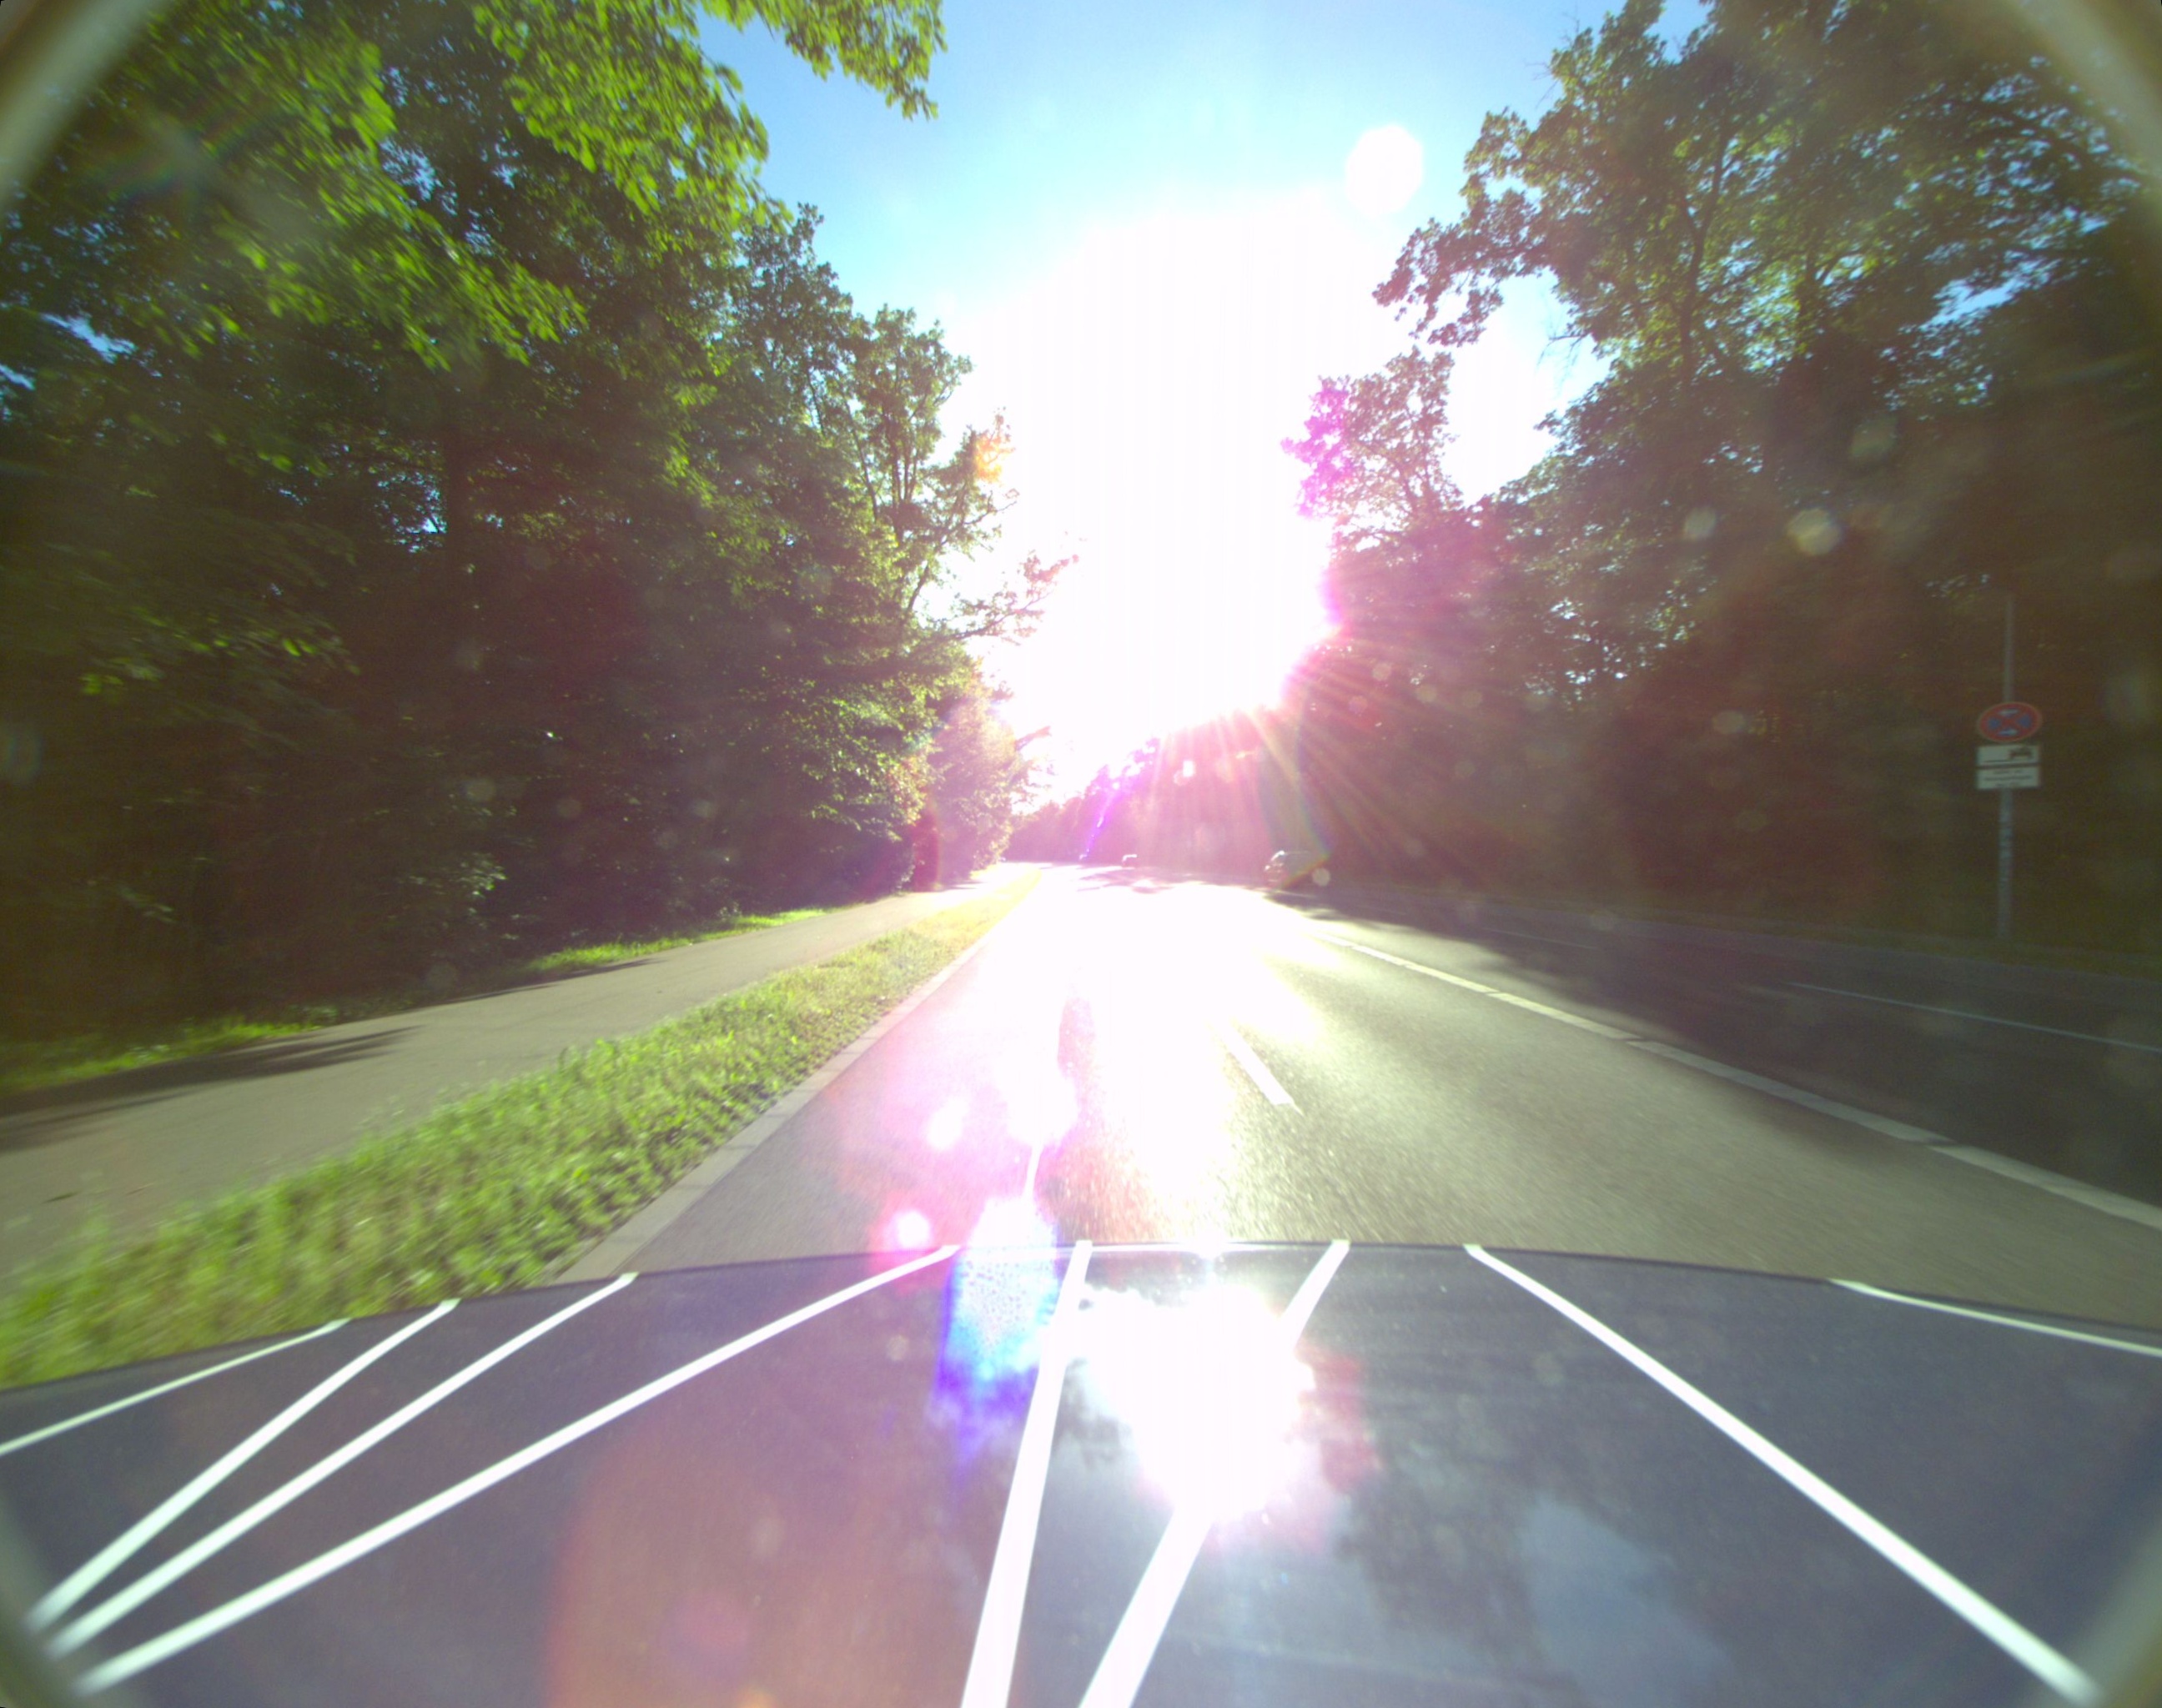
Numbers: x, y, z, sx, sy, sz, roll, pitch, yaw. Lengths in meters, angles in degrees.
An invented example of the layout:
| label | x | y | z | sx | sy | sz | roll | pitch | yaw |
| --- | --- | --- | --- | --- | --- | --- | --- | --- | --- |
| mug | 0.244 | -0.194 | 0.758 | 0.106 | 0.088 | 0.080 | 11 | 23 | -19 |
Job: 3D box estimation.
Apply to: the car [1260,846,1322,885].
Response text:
| label | x | y | z | sx | sy | sz | roll | pitch | yaw |
| --- | --- | --- | --- | --- | --- | --- | --- | --- | --- |
| car | 8.568 | 0.445 | 31.257 | 1.499 | 1.436 | 3.499 | -2 | 0 | -1 |

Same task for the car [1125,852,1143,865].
| label | x | y | z | sx | sy | sz | roll | pitch | yaw |
| --- | --- | --- | --- | --- | --- | --- | --- | --- | --- |
| car | 6.276 | 0.539 | 90.809 | 1.714 | 1.415 | 4.129 | -1 | 0 | -2 |

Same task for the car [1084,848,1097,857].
| label | x | y | z | sx | sy | sz | roll | pitch | yaw |
| --- | --- | --- | --- | --- | --- | --- | --- | --- | --- |
| car | 1.680 | -0.260 | 137.722 | 1.813 | 1.653 | 4.519 | -1 | 0 | -7 |
